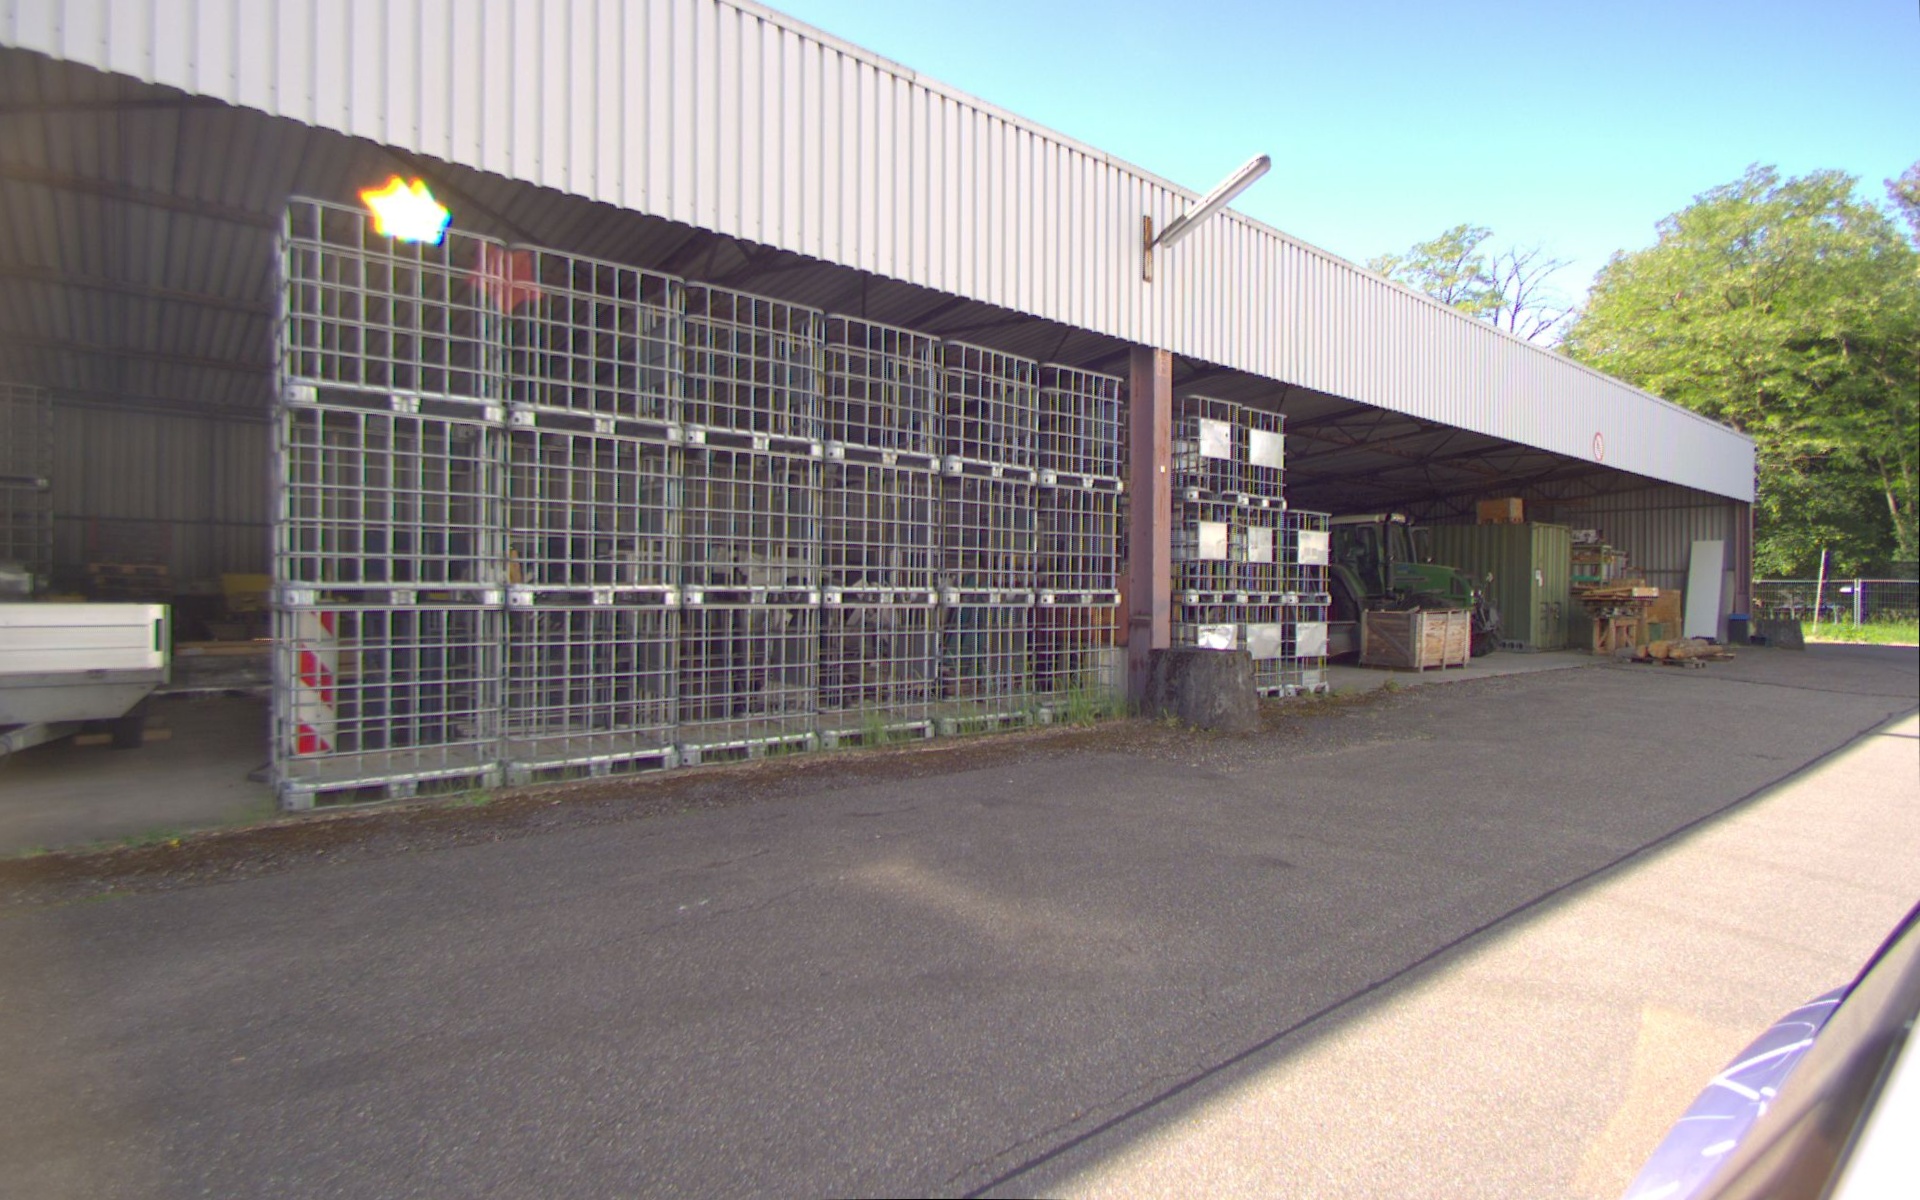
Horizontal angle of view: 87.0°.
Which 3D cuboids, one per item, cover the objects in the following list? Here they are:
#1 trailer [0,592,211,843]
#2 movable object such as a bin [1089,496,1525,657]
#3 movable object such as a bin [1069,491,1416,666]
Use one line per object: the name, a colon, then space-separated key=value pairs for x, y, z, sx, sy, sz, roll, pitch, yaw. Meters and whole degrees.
trailer: x=-6.744 y=0.554 z=6.936 sx=2.104 sy=1.147 sz=5.857 roll=0 pitch=1 yaw=-41
movable object such as a bin: x=7.376 y=-0.482 z=23.127 sx=3.154 sy=2.947 sz=9.213 roll=0 pitch=0 yaw=-39
movable object such as a bin: x=5.438 y=-0.391 z=20.378 sx=2.962 sy=2.947 sz=6.199 roll=0 pitch=0 yaw=-39
